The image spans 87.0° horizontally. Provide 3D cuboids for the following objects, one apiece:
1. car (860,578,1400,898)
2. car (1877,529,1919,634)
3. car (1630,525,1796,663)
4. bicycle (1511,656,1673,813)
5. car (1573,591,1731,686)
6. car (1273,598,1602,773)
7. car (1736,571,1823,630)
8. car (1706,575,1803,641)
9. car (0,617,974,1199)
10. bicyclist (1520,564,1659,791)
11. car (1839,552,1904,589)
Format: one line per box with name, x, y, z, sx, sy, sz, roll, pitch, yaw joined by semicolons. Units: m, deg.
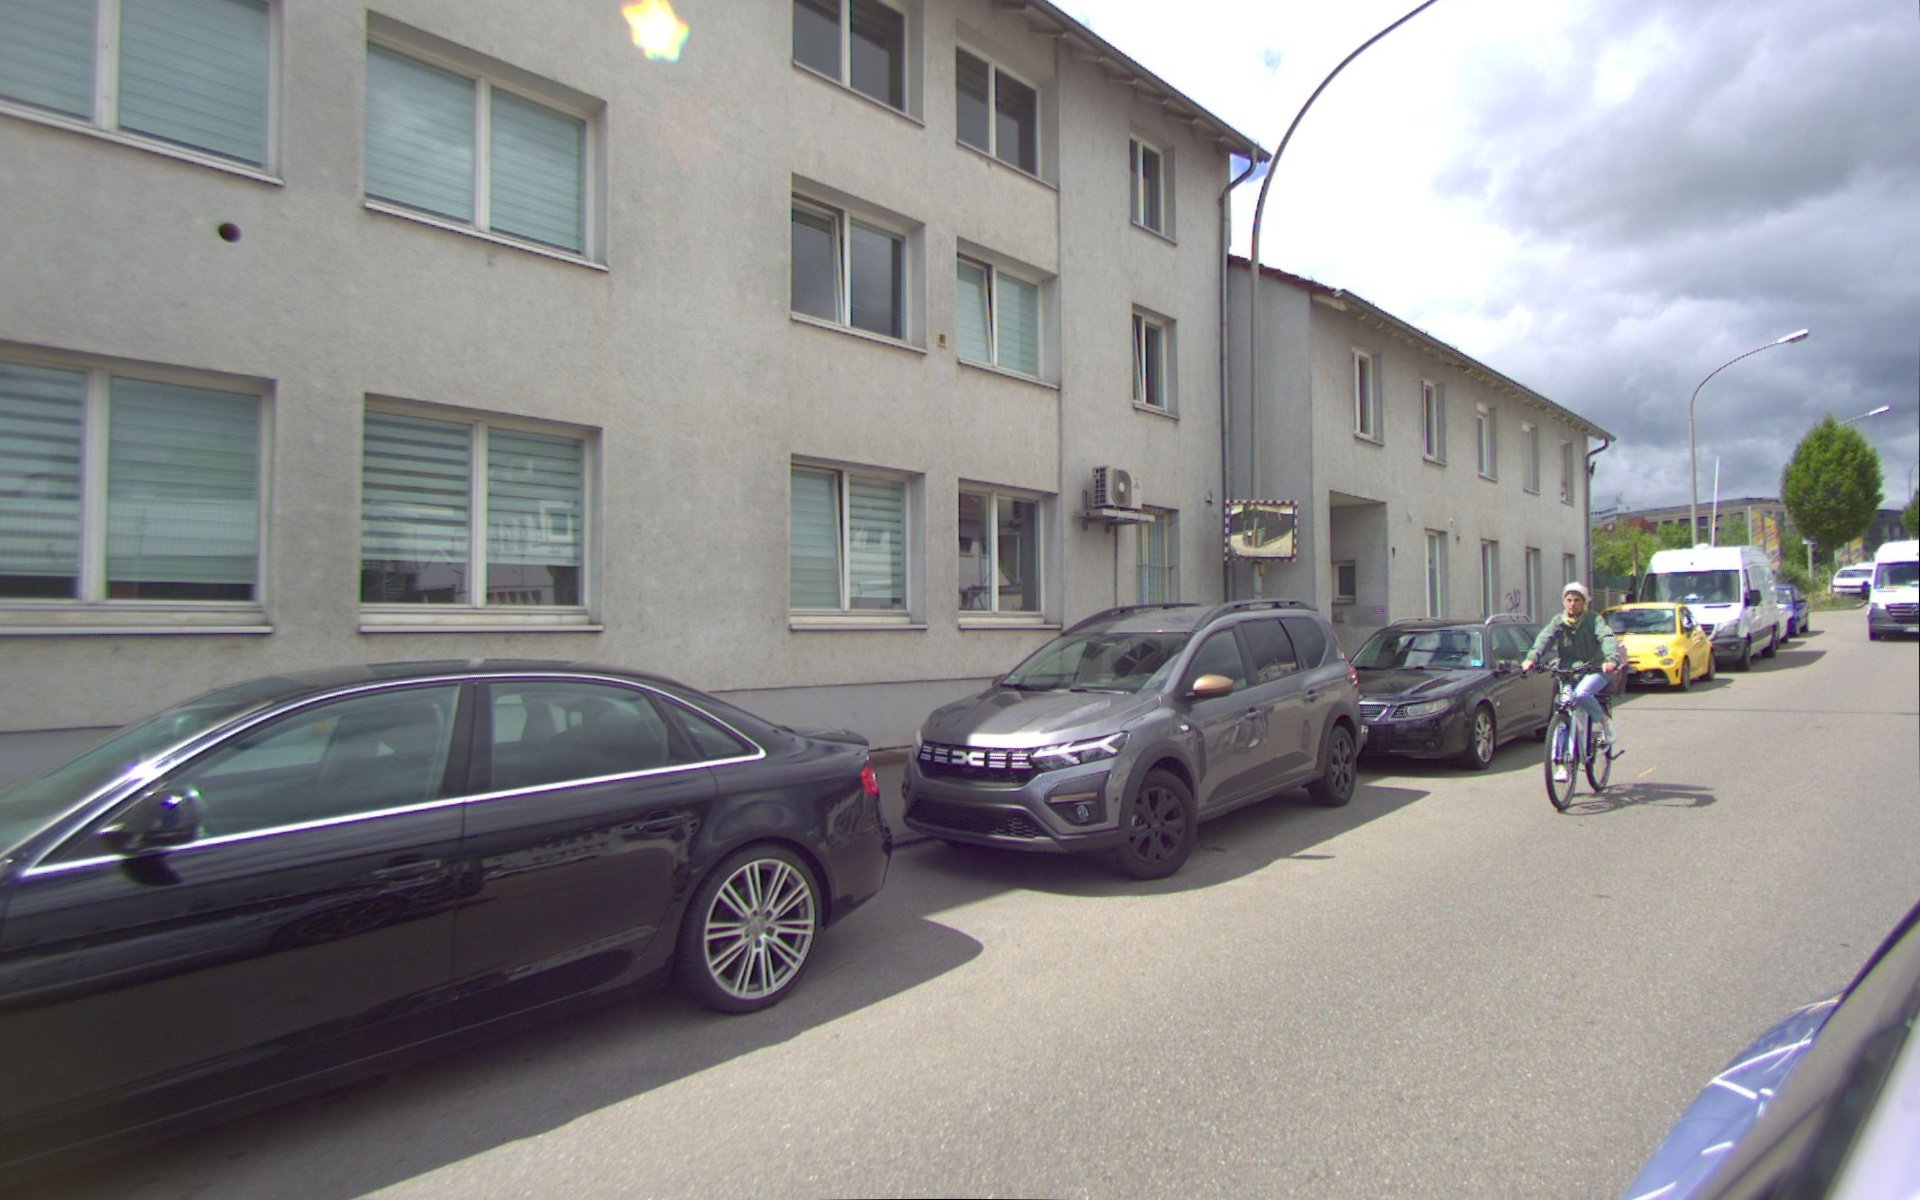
car;1.582;0.757;7.590;1.675;1.659;4.723;-4;-3;42
car;26.523;-0.620;27.318;5.963;2.623;2.079;-4;1;-43
car;17.185;-0.177;22.892;2.033;2.675;7.168;-2;0;44
bicycle;5.025;0.998;8.001;0.740;0.987;1.705;-2;0;43
car;12.589;0.637;18.335;3.728;1.466;1.594;-2;0;-44
car;5.525;0.802;11.319;1.704;1.530;5.005;-5;-3;44
car;24.714;-0.001;30.473;4.029;1.529;1.567;-4;1;-45
car;21.185;0.189;26.939;1.593;1.529;3.731;-2;1;44
car;-2.238;0.840;3.730;1.735;1.442;4.782;-3;-2;45
bicyclist;4.924;0.567;7.915;0.739;1.647;0.720;-2;1;44
car;43.292;-1.404;48.038;4.391;1.584;1.844;-4;3;-42
